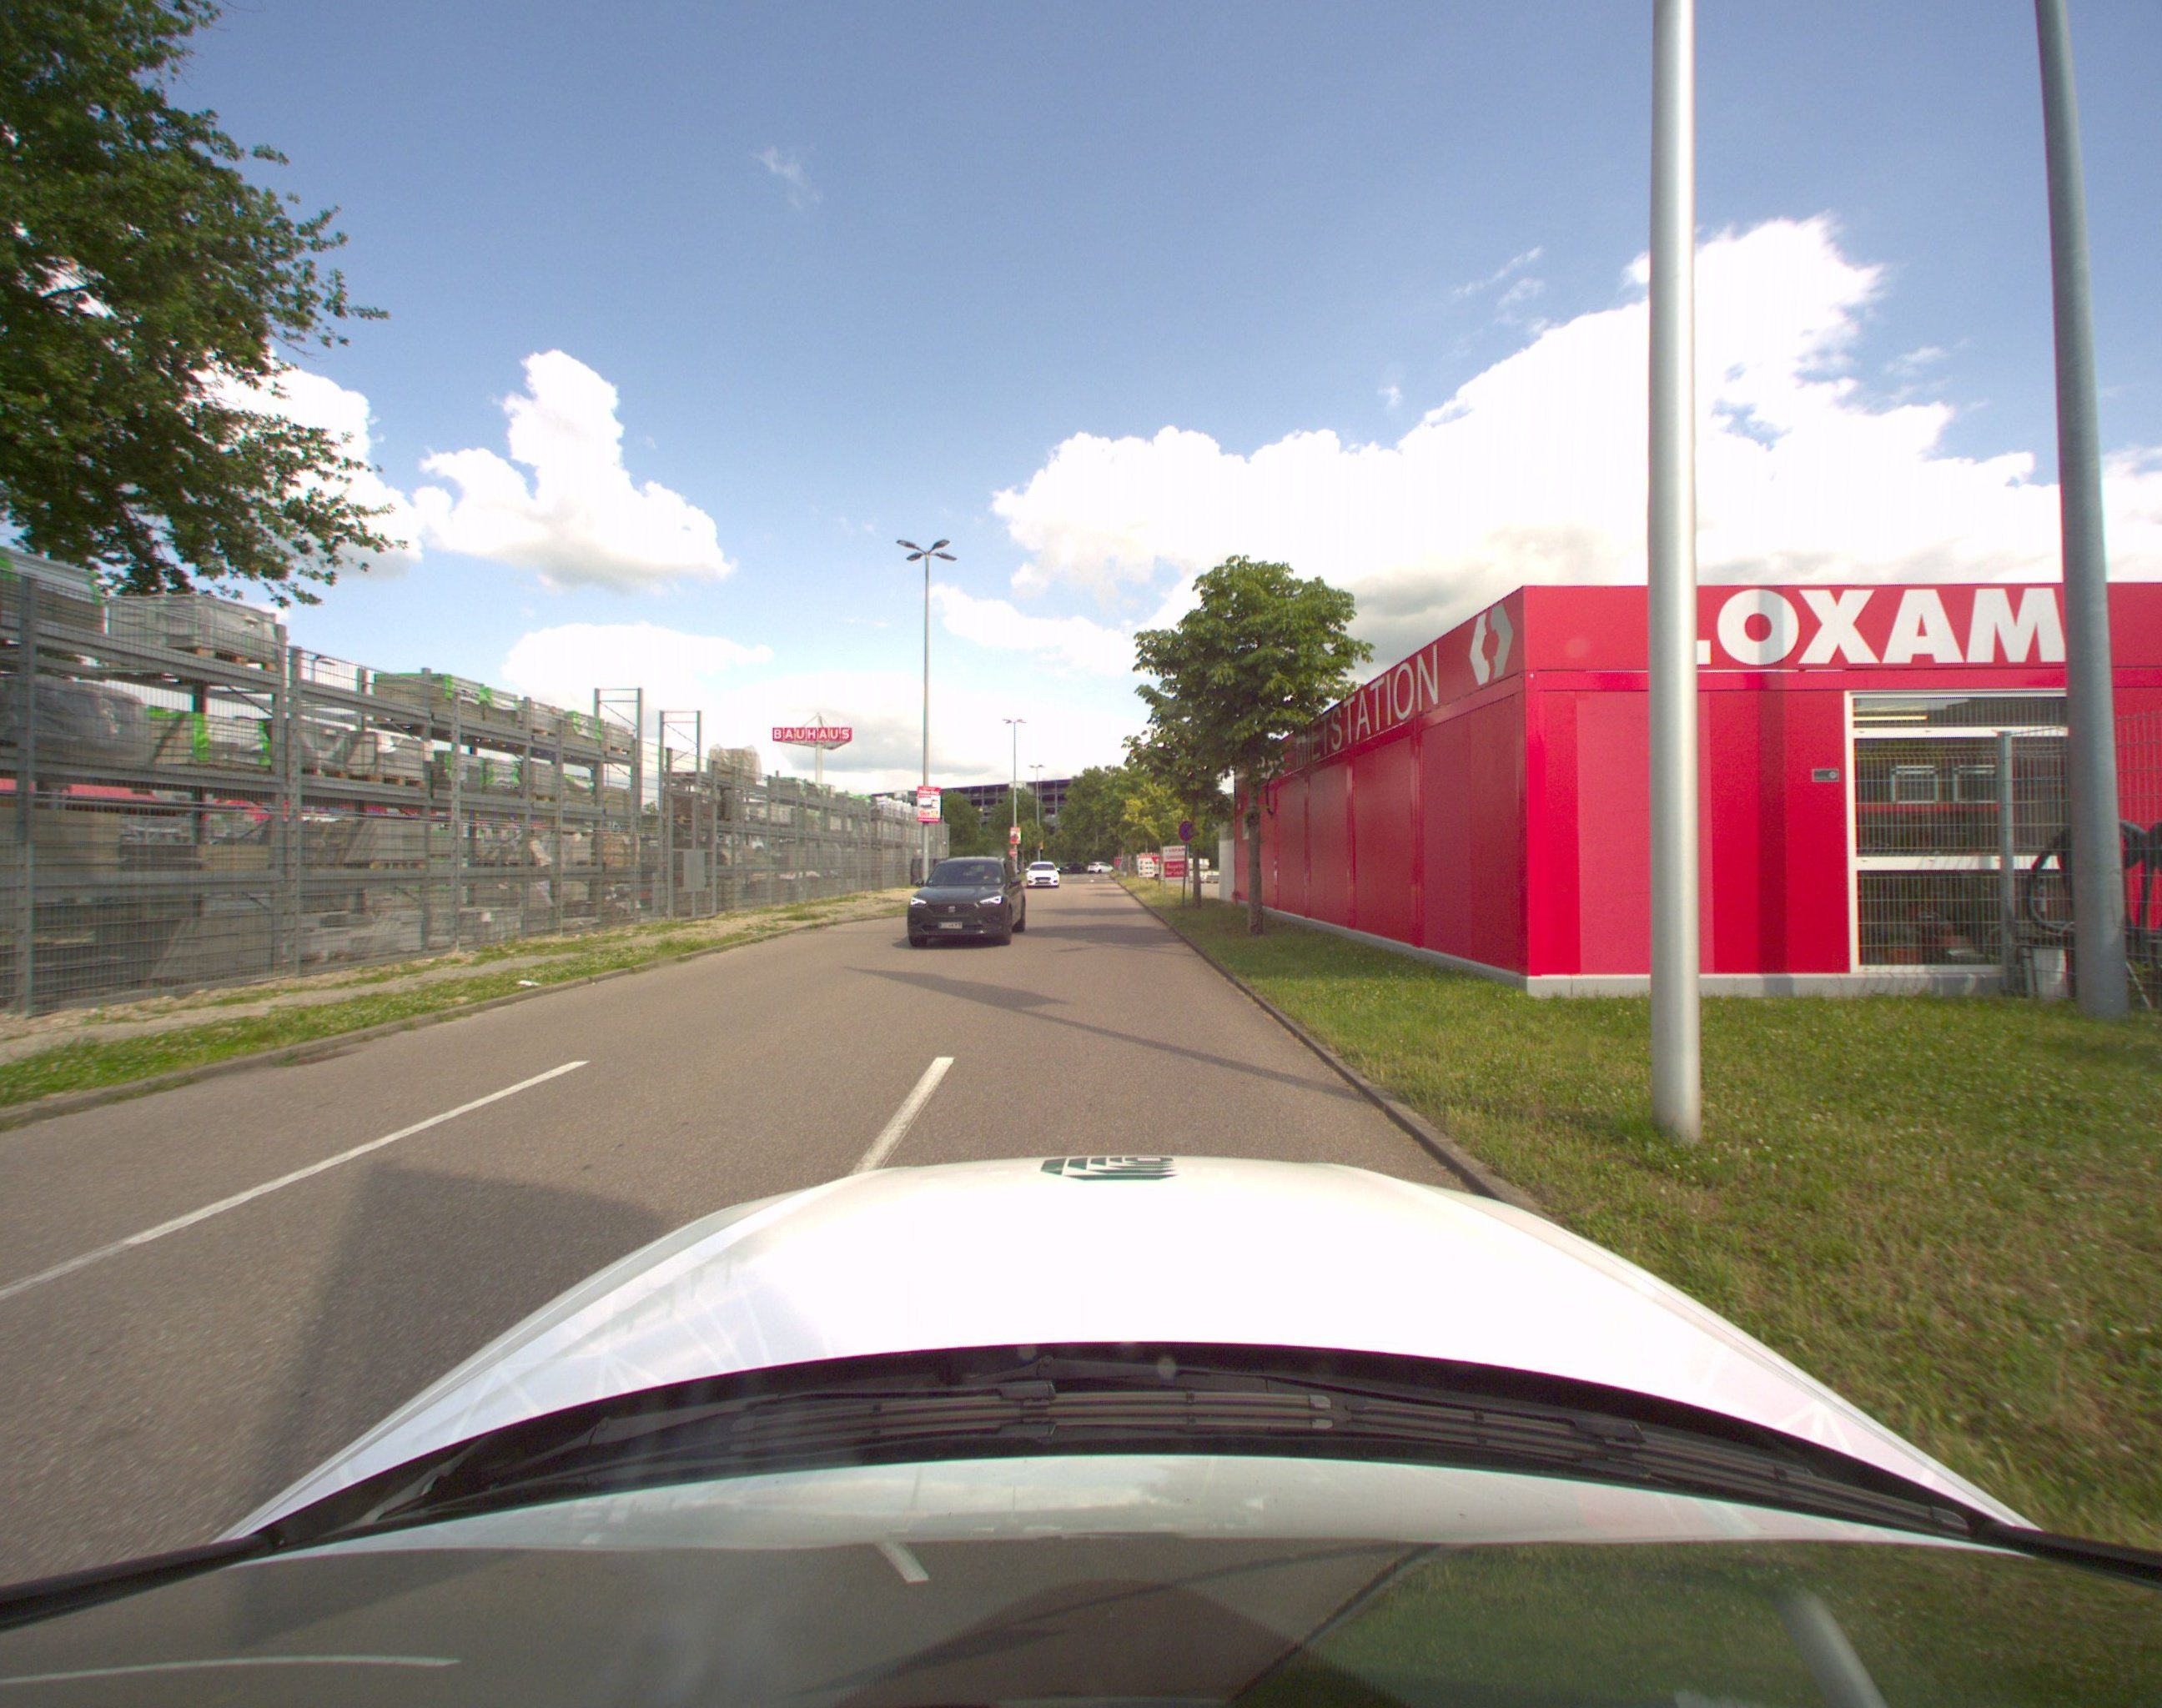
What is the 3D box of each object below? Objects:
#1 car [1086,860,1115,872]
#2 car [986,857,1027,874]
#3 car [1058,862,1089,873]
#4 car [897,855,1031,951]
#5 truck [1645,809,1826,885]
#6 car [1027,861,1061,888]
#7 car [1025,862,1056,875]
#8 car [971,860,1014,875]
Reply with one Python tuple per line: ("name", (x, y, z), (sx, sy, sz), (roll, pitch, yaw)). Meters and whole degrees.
("car", (2.425, 1.486, 100.183), (1.649, 1.411, 3.580), (-1, -1, 39))
("car", (-7.549, 1.167, 82.456), (3.935, 1.624, 1.737), (-1, -1, 2))
("car", (-0.878, 1.683, 102.648), (1.711, 1.410, 4.270), (-1, -1, 35))
("car", (-2.182, 0.866, 16.383), (1.908, 1.618, 4.375), (-1, 0, 2))
("truck", (34.549, -0.312, 43.629), (2.710, 3.598, 9.042), (-1, 0, 2))
("car", (-2.081, 1.117, 46.456), (1.798, 1.464, 4.327), (0, 0, -1))
("car", (-5.176, 1.849, 105.582), (1.668, 1.510, 4.107), (-7, -4, 37))
("car", (-8.168, 1.229, 75.345), (3.738, 1.368, 1.621), (-1, 0, 0))
